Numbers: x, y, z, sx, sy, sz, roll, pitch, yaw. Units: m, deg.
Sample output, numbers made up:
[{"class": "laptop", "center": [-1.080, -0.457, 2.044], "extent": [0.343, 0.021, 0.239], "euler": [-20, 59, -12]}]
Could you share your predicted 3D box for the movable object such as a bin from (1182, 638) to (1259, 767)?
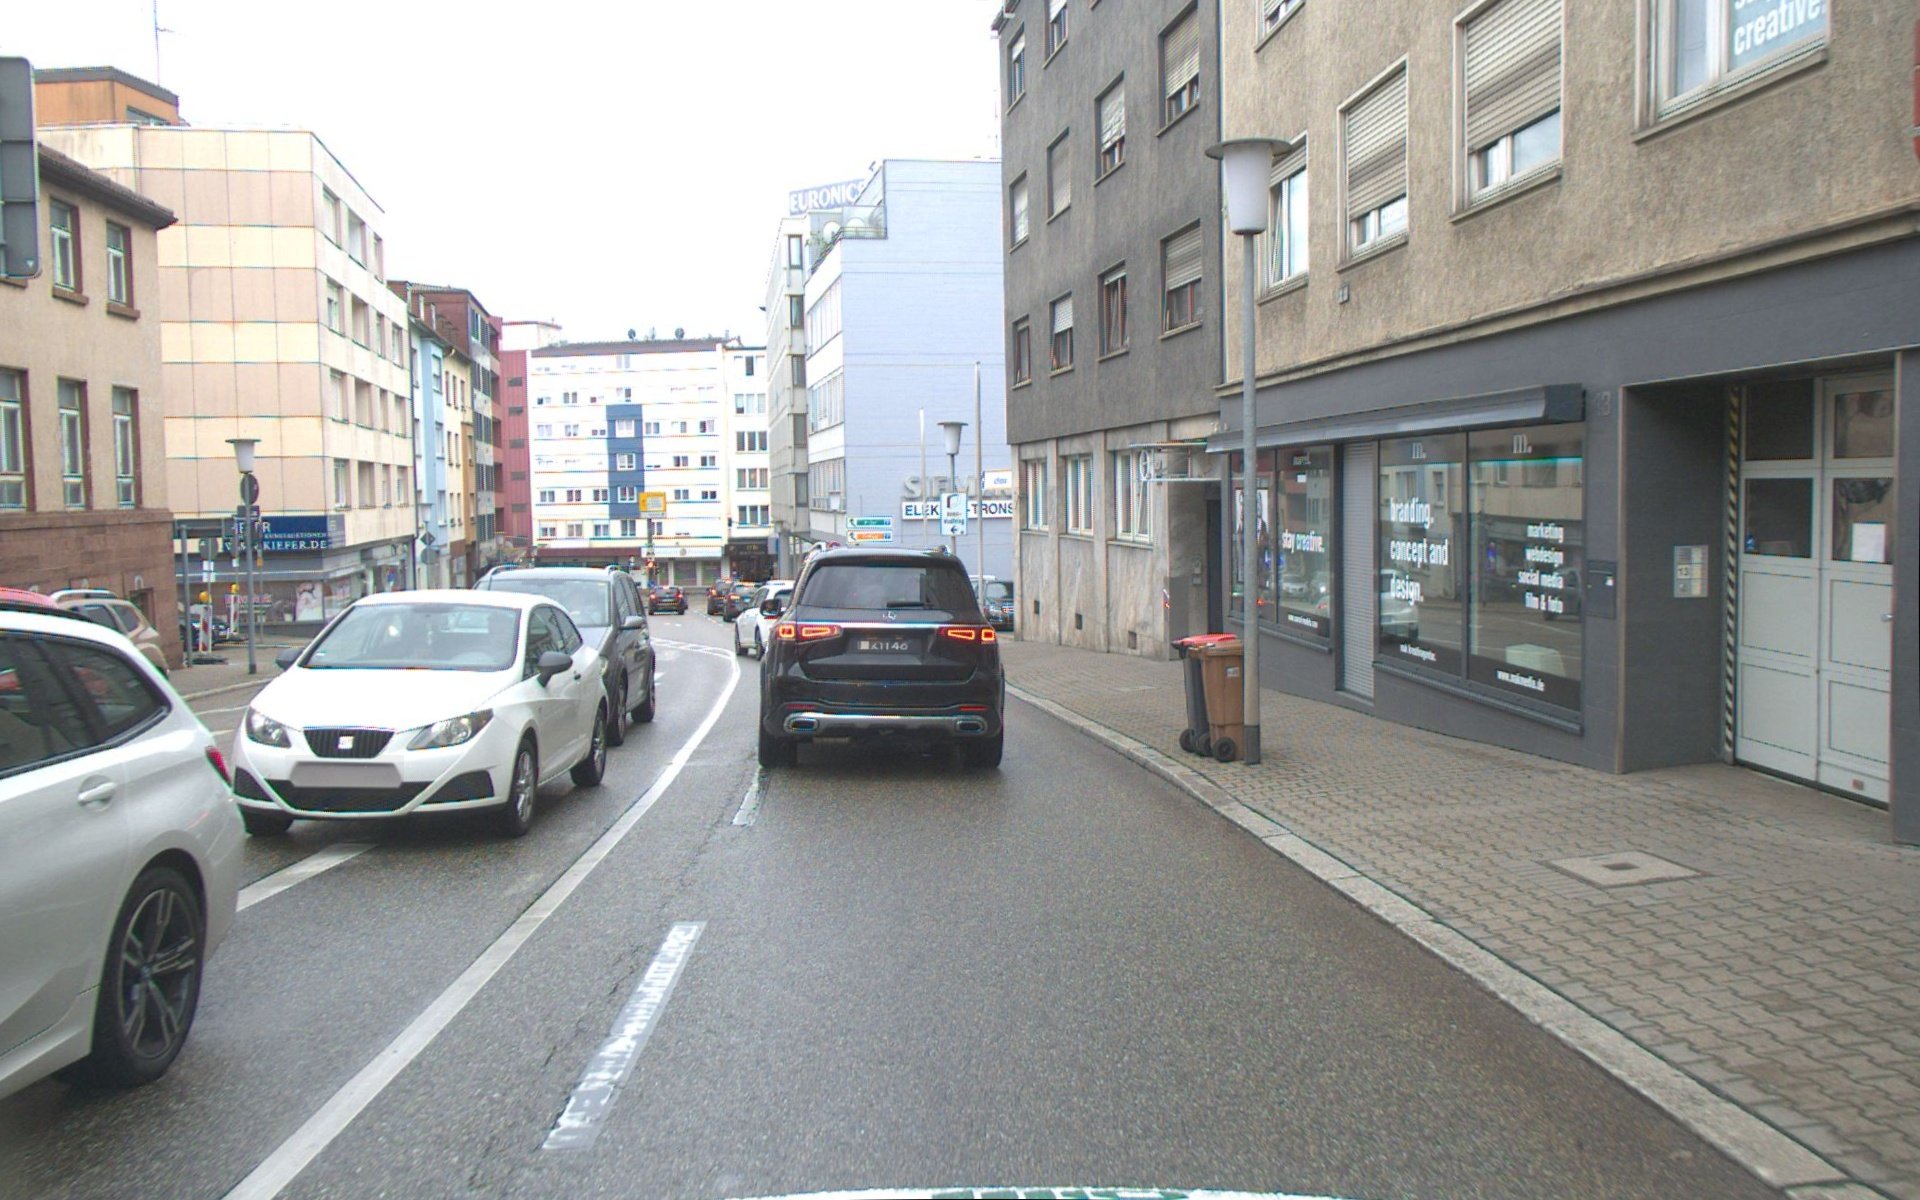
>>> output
[{"class": "movable object such as a bin", "center": [2.094, 0.815, 13.335], "extent": [0.514, 0.966, 0.537], "euler": [0, 4, -2]}]

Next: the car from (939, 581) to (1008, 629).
[{"class": "car", "center": [0.404, 0.128, 53.848], "extent": [1.537, 1.503, 4.060], "euler": [0, 0, -10]}]

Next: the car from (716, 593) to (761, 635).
[{"class": "car", "center": [-8.841, 0.531, 65.881], "extent": [1.496, 1.575, 3.098], "euler": [-1, 1, -12]}]

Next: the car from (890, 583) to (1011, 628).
[{"class": "car", "center": [-0.329, 0.227, 57.868], "extent": [3.943, 1.521, 1.716], "euler": [1, -1, -29]}]

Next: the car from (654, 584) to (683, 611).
[{"class": "car", "center": [-14.693, -0.126, 83.510], "extent": [1.261, 1.143, 2.784], "euler": [0, 5, -7]}]

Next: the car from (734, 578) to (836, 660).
[{"class": "car", "center": [-3.614, 0.335, 33.567], "extent": [1.796, 1.487, 4.370], "euler": [-2, 1, -9]}]

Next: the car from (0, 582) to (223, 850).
[{"class": "car", "center": [-6.507, 0.715, 10.811], "extent": [1.706, 1.542, 4.127], "euler": [-3, 0, -4]}]

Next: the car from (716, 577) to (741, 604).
[{"class": "car", "center": [-14.247, -0.592, 101.795], "extent": [1.494, 1.575, 3.102], "euler": [-1, 1, -8]}]

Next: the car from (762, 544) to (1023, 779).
[{"class": "car", "center": [-0.750, 0.447, 14.953], "extent": [1.982, 1.770, 4.741], "euler": [0, 0, -6]}]

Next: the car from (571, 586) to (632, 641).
[{"class": "car", "center": [-11.088, 0.415, 51.162], "extent": [1.693, 1.542, 4.355], "euler": [-2, 0, -13]}]

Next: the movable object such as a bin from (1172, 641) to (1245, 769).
[{"class": "movable object such as a bin", "center": [2.084, 0.874, 13.903], "extent": [0.514, 0.997, 0.537], "euler": [0, 4, -2]}]

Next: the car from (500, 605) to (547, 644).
[{"class": "car", "center": [-19.696, 1.082, 74.749], "extent": [1.684, 1.614, 4.132], "euler": [-3, 0, -11]}]

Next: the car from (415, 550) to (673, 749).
[{"class": "car", "center": [-4.067, 0.445, 16.894], "extent": [1.771, 1.735, 4.557], "euler": [1, 0, -5]}]

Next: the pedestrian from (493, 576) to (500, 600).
[{"class": "pedestrian", "center": [-29.427, -0.791, 105.023], "extent": [0.312, 1.499, 0.338], "euler": [0, 4, -6]}]

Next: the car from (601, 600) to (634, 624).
[{"class": "car", "center": [-20.382, 0.697, 98.388], "extent": [1.686, 1.340, 4.127], "euler": [-1, 1, -15]}]

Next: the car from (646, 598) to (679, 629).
[{"class": "car", "center": [-13.484, 0.586, 75.084], "extent": [1.261, 1.143, 2.784], "euler": [0, 5, -7]}]

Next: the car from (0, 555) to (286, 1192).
[{"class": "car", "center": [-3.214, 0.680, 3.567], "extent": [1.770, 1.548, 4.559], "euler": [-1, 0, -2]}]

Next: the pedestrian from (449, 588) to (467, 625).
[{"class": "pedestrian", "center": [-23.399, 0.293, 77.032], "extent": [0.727, 1.680, 0.604], "euler": [-1, 4, -13]}]

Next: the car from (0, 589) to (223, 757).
[{"class": "car", "center": [-9.841, 0.755, 18.463], "extent": [1.623, 1.638, 3.925], "euler": [-3, 0, -4]}]

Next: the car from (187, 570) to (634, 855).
[{"class": "car", "center": [-3.371, 0.613, 11.045], "extent": [1.664, 1.506, 4.289], "euler": [1, 0, -2]}]

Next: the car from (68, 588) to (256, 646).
[{"class": "car", "center": [-21.880, 0.465, 45.464], "extent": [4.243, 1.539, 1.898], "euler": [0, 0, 0]}]

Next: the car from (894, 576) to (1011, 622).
[{"class": "car", "center": [-0.266, -0.021, 60.624], "extent": [3.943, 1.625, 1.782], "euler": [1, -1, -29]}]

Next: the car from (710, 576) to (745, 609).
[{"class": "car", "center": [-11.584, -0.389, 82.402], "extent": [1.496, 1.575, 3.098], "euler": [-1, 1, -12]}]

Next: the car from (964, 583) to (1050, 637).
[{"class": "car", "center": [1.326, 0.270, 48.480], "extent": [1.763, 1.503, 4.476], "euler": [0, 0, -9]}]
